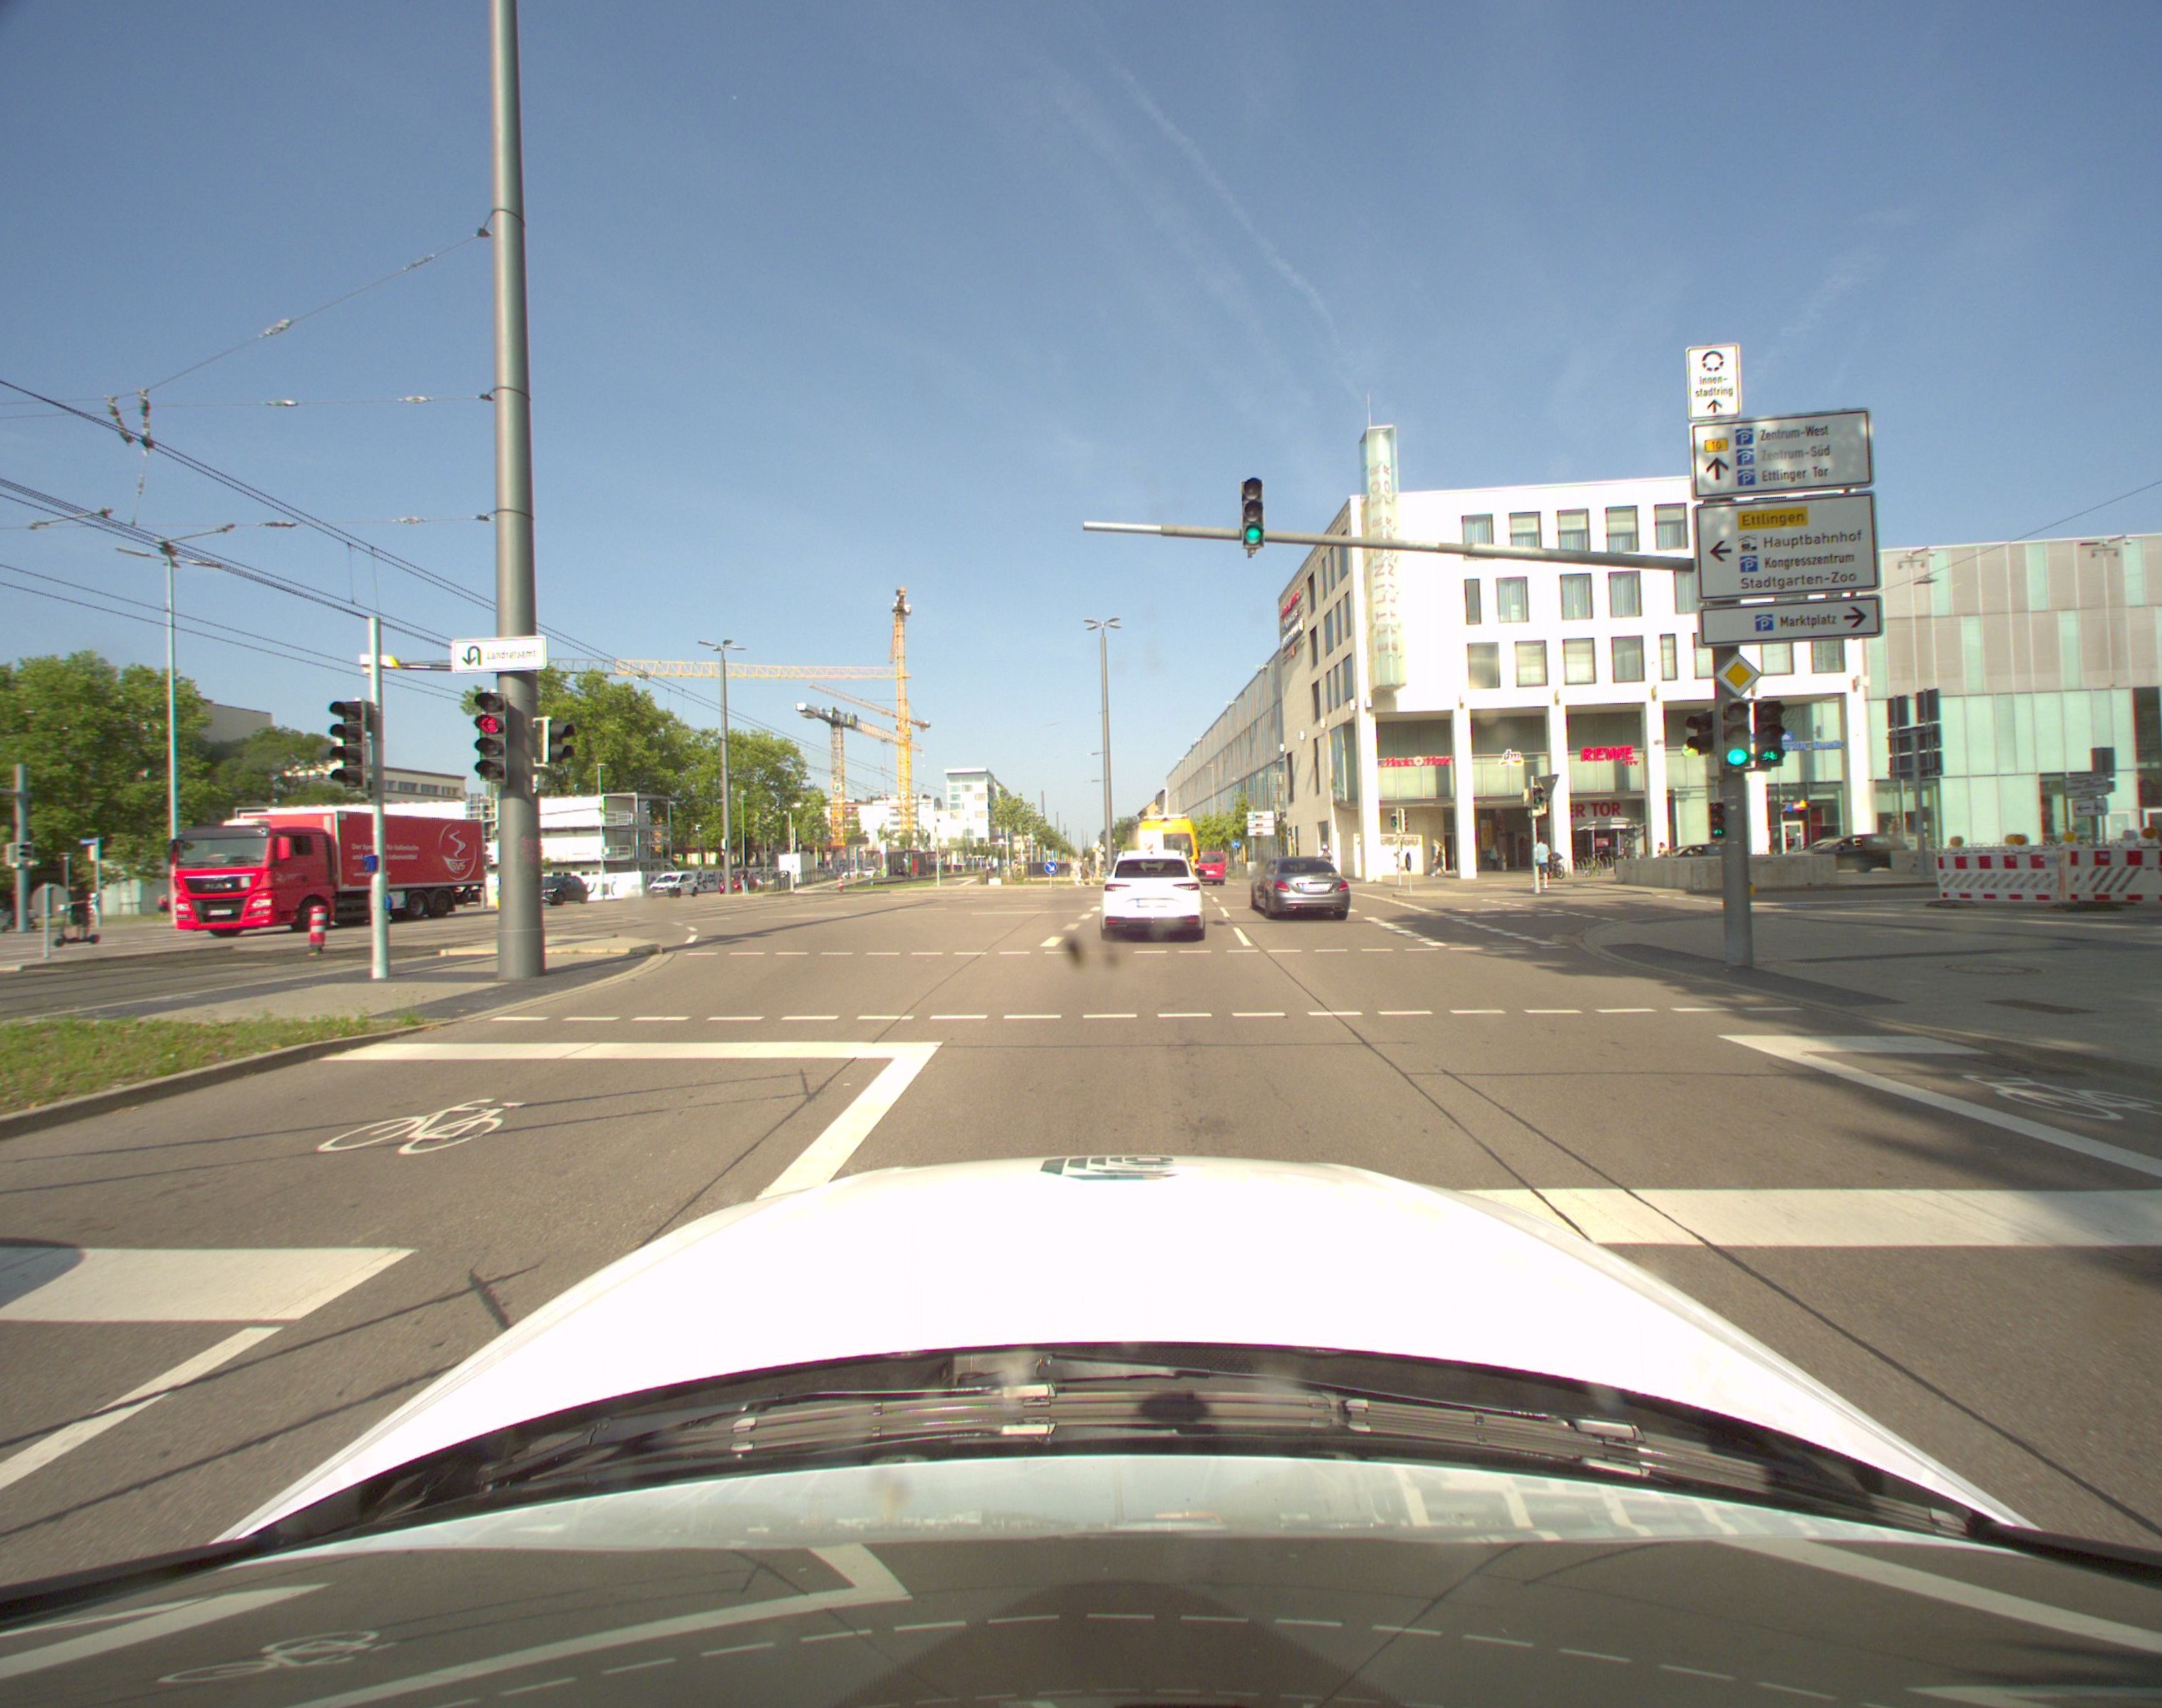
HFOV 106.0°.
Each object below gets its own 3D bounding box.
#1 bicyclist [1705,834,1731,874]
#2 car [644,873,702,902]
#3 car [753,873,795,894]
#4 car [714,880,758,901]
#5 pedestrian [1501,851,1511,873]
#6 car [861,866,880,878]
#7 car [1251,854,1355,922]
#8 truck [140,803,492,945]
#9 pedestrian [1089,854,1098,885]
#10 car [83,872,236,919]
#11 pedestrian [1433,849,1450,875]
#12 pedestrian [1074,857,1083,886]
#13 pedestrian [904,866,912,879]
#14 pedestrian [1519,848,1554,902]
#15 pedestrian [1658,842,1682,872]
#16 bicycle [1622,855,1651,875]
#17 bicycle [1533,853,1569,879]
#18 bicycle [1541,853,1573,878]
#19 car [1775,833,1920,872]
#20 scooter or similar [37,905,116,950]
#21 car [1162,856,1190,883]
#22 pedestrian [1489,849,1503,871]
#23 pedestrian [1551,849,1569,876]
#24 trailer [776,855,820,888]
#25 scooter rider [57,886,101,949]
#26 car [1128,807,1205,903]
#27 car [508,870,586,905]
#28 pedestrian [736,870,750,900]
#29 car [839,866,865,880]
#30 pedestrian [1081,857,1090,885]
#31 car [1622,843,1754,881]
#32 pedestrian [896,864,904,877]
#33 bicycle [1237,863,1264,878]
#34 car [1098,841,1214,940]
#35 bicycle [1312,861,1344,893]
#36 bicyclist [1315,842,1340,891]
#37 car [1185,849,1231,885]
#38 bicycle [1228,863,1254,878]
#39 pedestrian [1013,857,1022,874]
[{"bbox_3d":[28.271,0.011,36.138,0.632,1.738,0.582,-2,-1,1],"label":"bicyclist"},{"bbox_3d":[-28.065,2.292,56.153,1.610,1.789,4.519,-2,-1,1],"label":"car"},{"bbox_3d":[-24.320,2.285,64.695,1.638,1.469,4.402,-2,0,0],"label":"car"},{"bbox_3d":[-24.778,2.580,58.588,1.717,1.361,3.694,-1,-1,-3],"label":"car"},{"bbox_3d":[26.683,0.517,51.146,0.390,1.341,0.456,-2,-1,1],"label":"pedestrian"},{"bbox_3d":[-28.606,2.456,110.528,1.590,1.463,3.434,-2,-1,1],"label":"car"},{"bbox_3d":[5.153,0.739,19.419,1.751,1.436,4.122,-1,0,6],"label":"car"},{"bbox_3d":[-24.752,0.600,27.580,2.968,3.809,10.398,-2,-1,-6],"label":"truck"},{"bbox_3d":[0.700,0.855,44.430,0.466,1.650,0.777,-1,-1,1],"label":"pedestrian"},{"bbox_3d":[-35.665,1.551,31.691,1.638,1.601,3.991,-2,0,-6],"label":"car"},{"bbox_3d":[21.210,0.457,47.953,0.704,1.487,0.605,-2,-1,3],"label":"pedestrian"},{"bbox_3d":[-0.144,1.025,47.029,0.466,1.650,0.777,-1,-1,1],"label":"pedestrian"},{"bbox_3d":[-17.722,1.893,83.431,0.679,1.300,0.592,-2,-1,-3],"label":"pedestrian"},{"bbox_3d":[15.003,0.678,26.842,0.639,1.711,0.992,-2,-1,9],"label":"pedestrian"},{"bbox_3d":[29.565,0.157,40.877,0.604,1.485,0.731,-1,-1,-30],"label":"pedestrian"},{"bbox_3d":[27.865,0.535,40.858,0.456,0.956,1.861,-2,-1,10],"label":"bicycle"},{"bbox_3d":[22.859,0.589,39.686,0.610,1.237,2.071,-2,-1,3],"label":"bicycle"},{"bbox_3d":[23.549,0.584,40.349,0.498,1.199,1.792,-2,-1,0],"label":"bicycle"},{"bbox_3d":[30.677,-0.038,32.695,3.882,1.403,1.881,-2,-1,5],"label":"car"},{"bbox_3d":[-28.138,2.046,22.839,0.538,1.146,1.381,-2,-1,-5],"label":"scooter or similar"},{"bbox_3d":[6.853,1.123,59.136,1.703,1.863,3.794,0,-1,1],"label":"car"},{"bbox_3d":[26.594,0.367,52.213,0.562,1.384,0.492,-2,-1,-5],"label":"pedestrian"},{"bbox_3d":[23.955,0.417,40.693,0.510,1.356,0.547,-2,-1,-6],"label":"pedestrian"},{"bbox_3d":[-24.579,1.503,71.025,2.038,2.781,5.021,0,-1,0],"label":"trailer"},{"bbox_3d":[-28.177,1.776,22.903,0.536,1.698,0.549,-2,-1,-4],"label":"scooter rider"},{"bbox_3d":[2.696,0.035,27.028,2.013,2.796,5.401,-2,0,1],"label":"car"},{"bbox_3d":[-27.146,1.681,41.578,1.638,1.601,3.991,-2,0,-6],"label":"car"},{"bbox_3d":[-19.606,1.797,47.222,0.367,1.676,0.643,-2,-1,17],"label":"pedestrian"},{"bbox_3d":[-28.863,2.386,102.737,1.785,1.582,4.618,-2,-1,2],"label":"car"},{"bbox_3d":[0.249,1.009,47.928,0.466,1.650,0.777,-1,-1,1],"label":"pedestrian"},{"bbox_3d":[24.638,0.355,33.156,3.874,1.366,1.880,-2,-2,5],"label":"car"},{"bbox_3d":[-17.888,1.655,80.554,0.679,1.300,0.592,-2,-1,-3],"label":"pedestrian"},{"bbox_3d":[12.460,1.195,59.782,1.832,1.113,0.687,0,-1,2],"label":"bicycle"},{"bbox_3d":[1.282,0.612,15.449,1.863,1.574,4.001,-2,-1,1],"label":"car"},{"bbox_3d":[9.065,0.819,29.947,0.658,1.117,2.053,-2,-1,3],"label":"bicycle"},{"bbox_3d":[9.047,0.453,29.928,0.648,1.749,0.770,-2,-1,3],"label":"bicyclist"},{"bbox_3d":[7.045,0.700,45.636,1.943,1.850,4.436,-2,-1,1],"label":"car"},{"bbox_3d":[12.569,1.314,63.958,1.871,1.109,0.490,-2,-1,2],"label":"bicycle"},{"bbox_3d":[-6.393,1.159,81.819,0.733,1.619,0.710,-1,-1,0],"label":"pedestrian"}]
